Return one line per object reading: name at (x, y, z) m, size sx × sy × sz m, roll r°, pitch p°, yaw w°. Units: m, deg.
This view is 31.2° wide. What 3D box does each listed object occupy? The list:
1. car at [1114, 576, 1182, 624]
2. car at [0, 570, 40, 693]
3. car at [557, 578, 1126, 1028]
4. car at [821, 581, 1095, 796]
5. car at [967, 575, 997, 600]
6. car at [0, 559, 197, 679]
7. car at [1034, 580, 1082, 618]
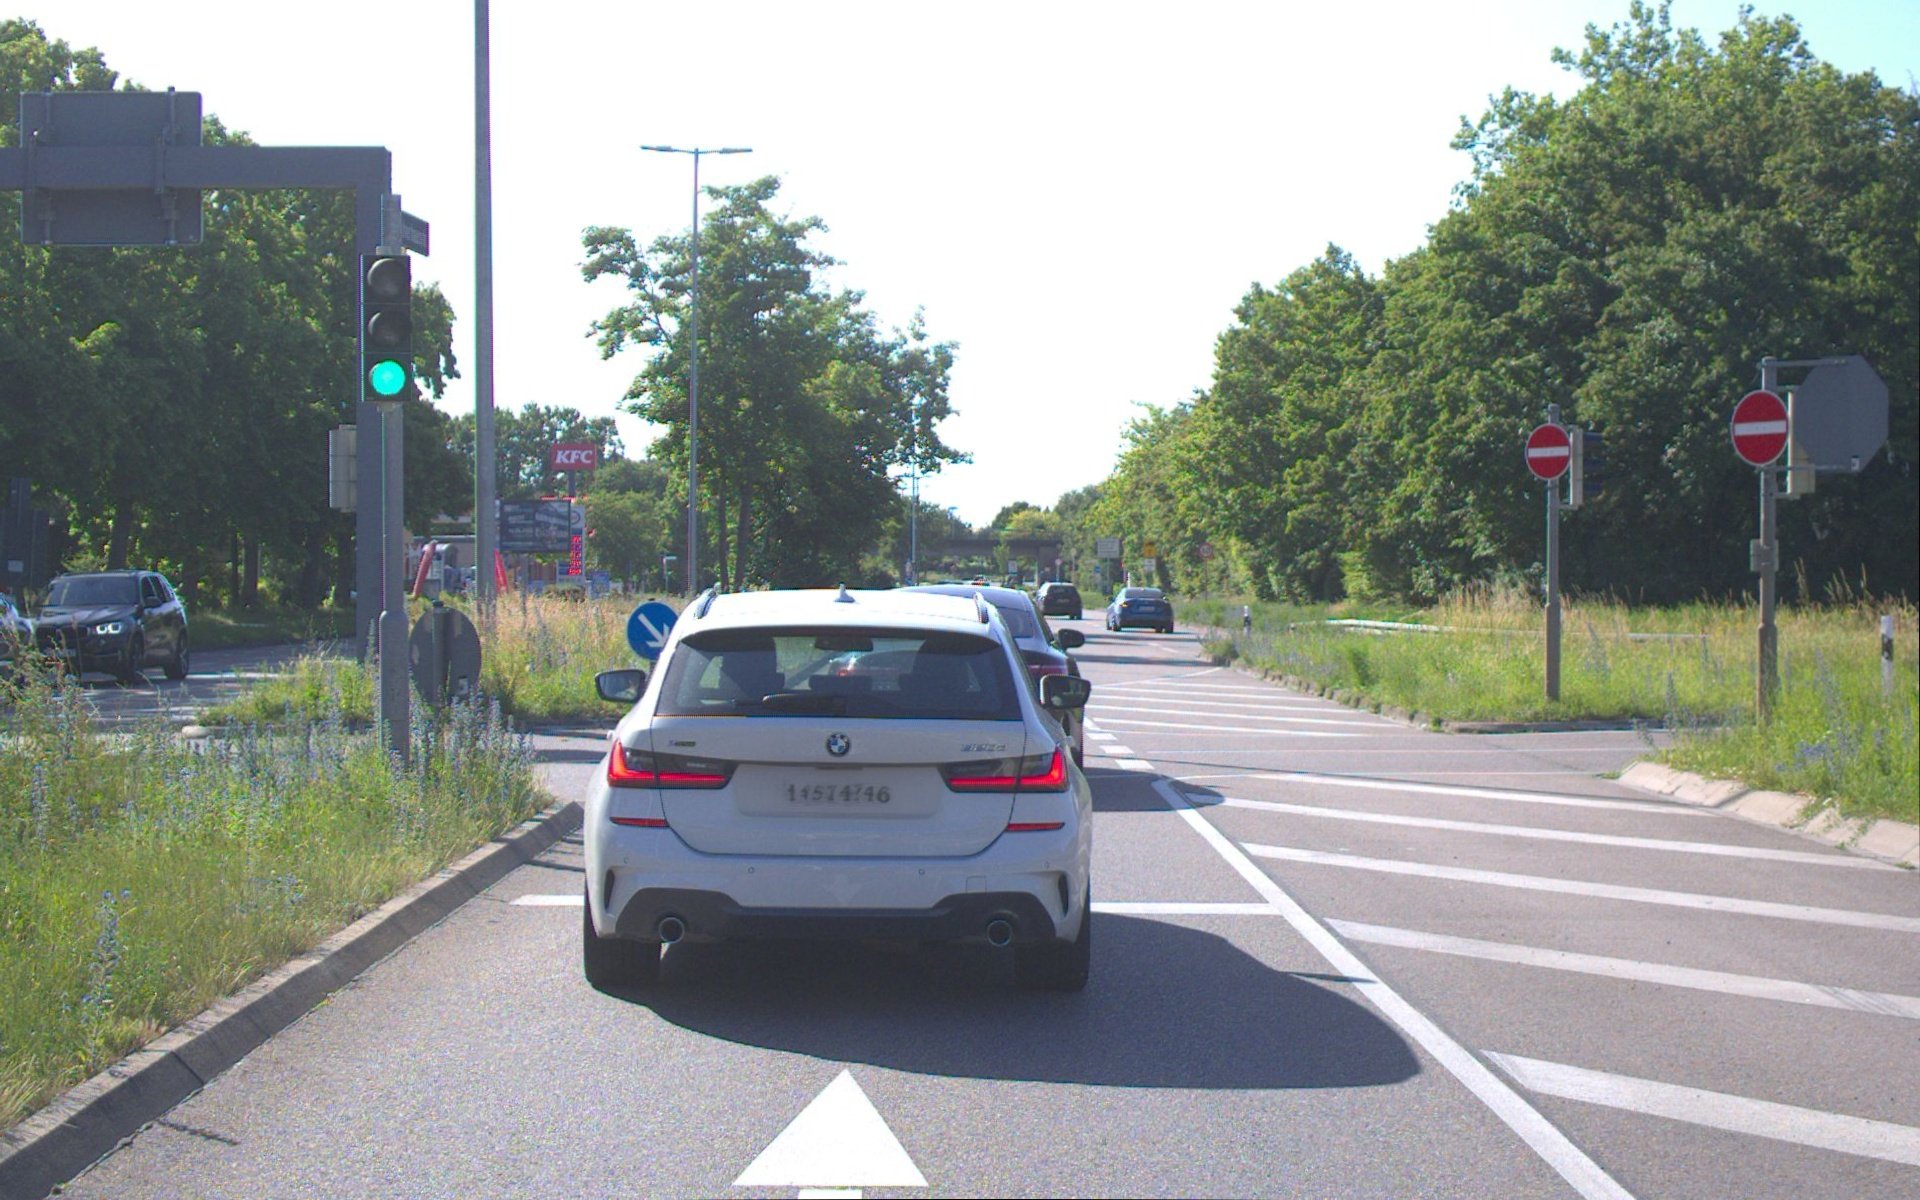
car at (5.969, -0.001, 109.523) m, size 1.861 × 1.494 × 4.336 m, roll 0°, pitch 0°, yaw 0°
car at (-12.939, 0.421, 42.493) m, size 1.876 × 1.537 × 4.572 m, roll -2°, pitch 0°, yaw 0°
car at (-0.388, 0.657, 13.639) m, size 1.861 × 1.450 × 4.547 m, roll 1°, pitch 1°, yaw 0°
car at (-0.035, 0.586, 25.627) m, size 1.861 × 1.450 × 4.547 m, roll 0°, pitch 0°, yaw 0°
car at (1.375, -0.827, 219.129) m, size 1.861 × 1.560 × 4.547 m, roll 0°, pitch 1°, yaw 0°
car at (-13.169, 0.257, 52.627) m, size 1.942 × 1.691 × 4.630 m, roll -2°, pitch 1°, yaw 0°
car at (4.024, -0.060, 141.820) m, size 1.771 × 1.550 × 3.833 m, roll 0°, pitch 1°, yaw -2°
